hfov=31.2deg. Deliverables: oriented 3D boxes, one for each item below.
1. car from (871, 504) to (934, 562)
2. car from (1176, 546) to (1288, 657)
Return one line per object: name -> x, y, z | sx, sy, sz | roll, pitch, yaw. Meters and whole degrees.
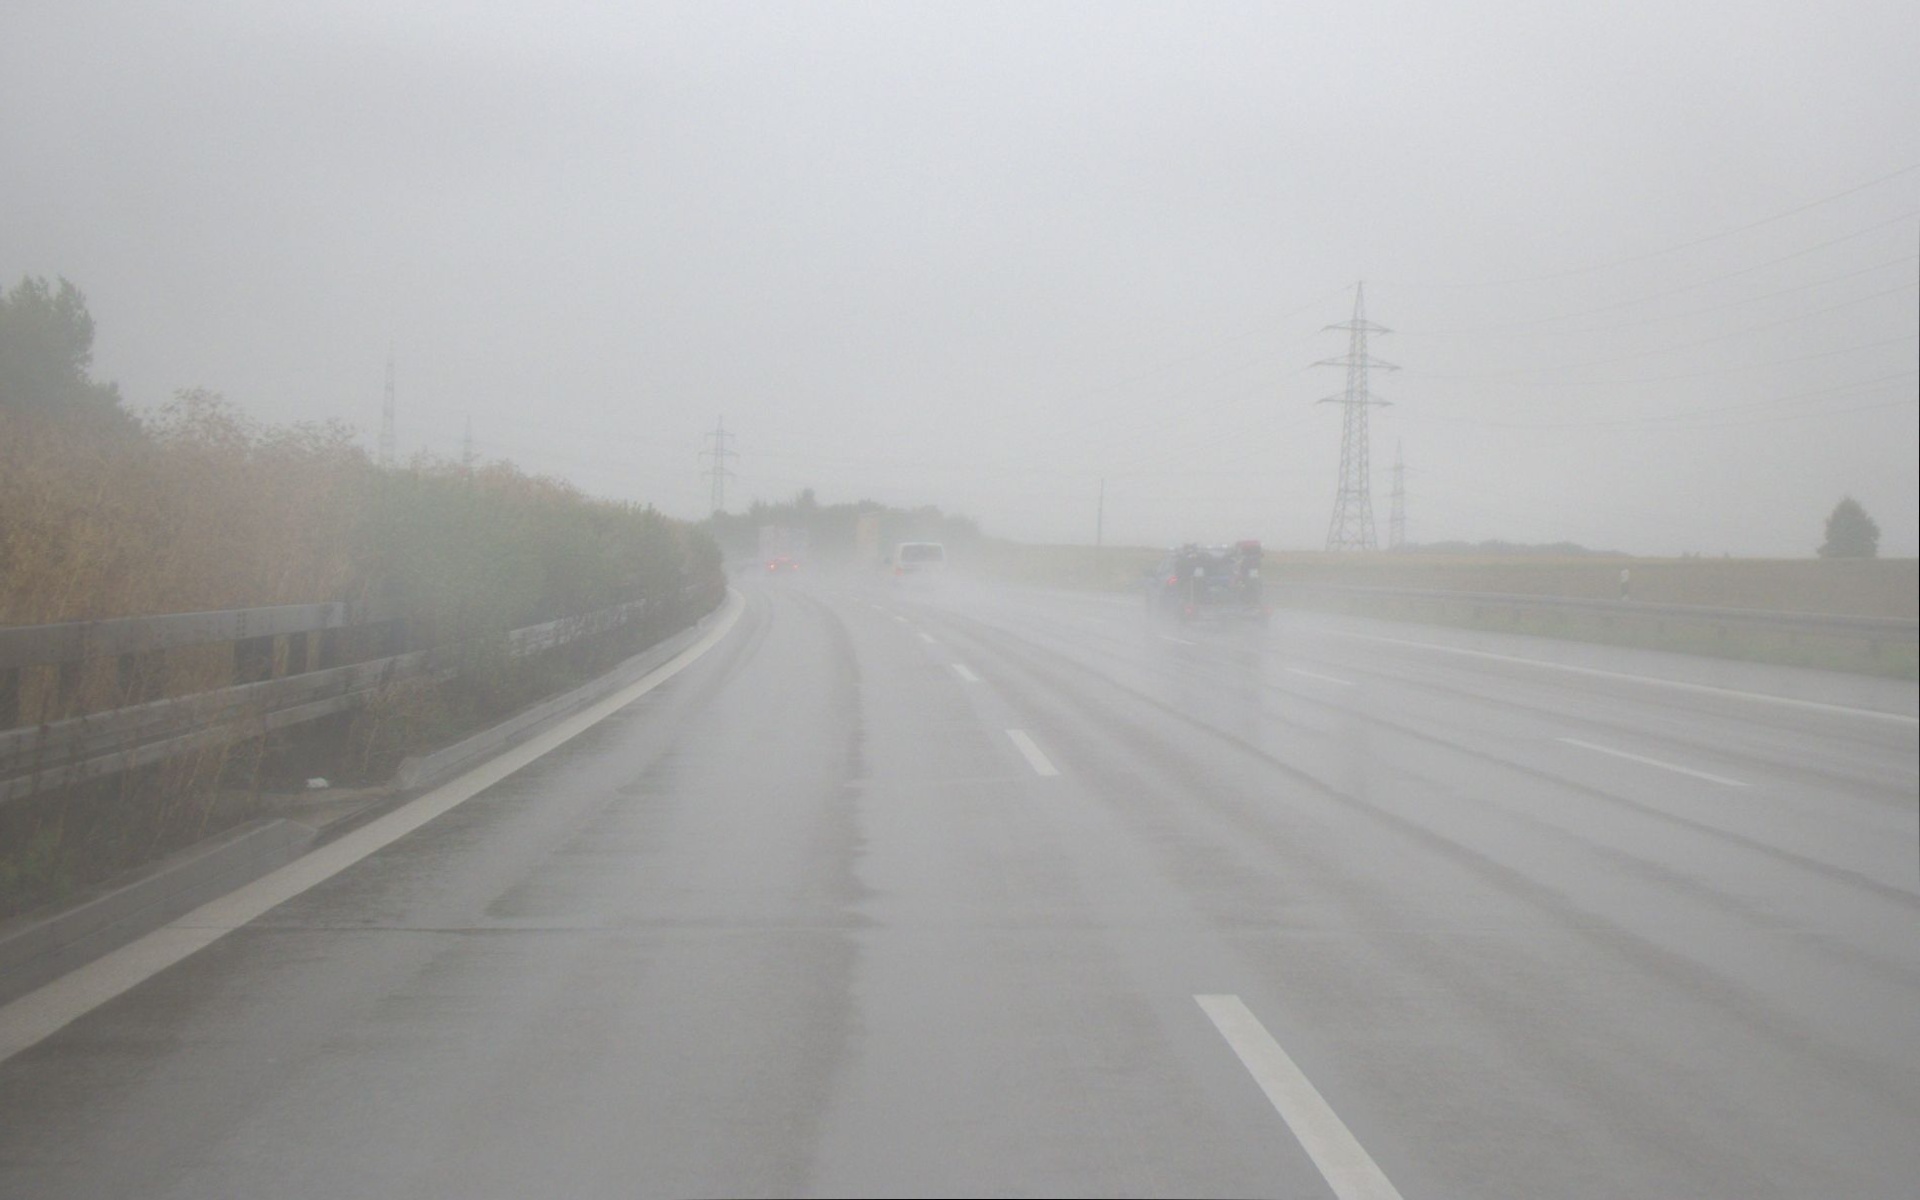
car -> -3.287, -3.739, 193.264 | 3.199, 3.182, 7.258 | 1, 1, -3
car -> 5.434, 0.002, 69.136 | 1.807, 2.151, 4.000 | 1, 1, -2
